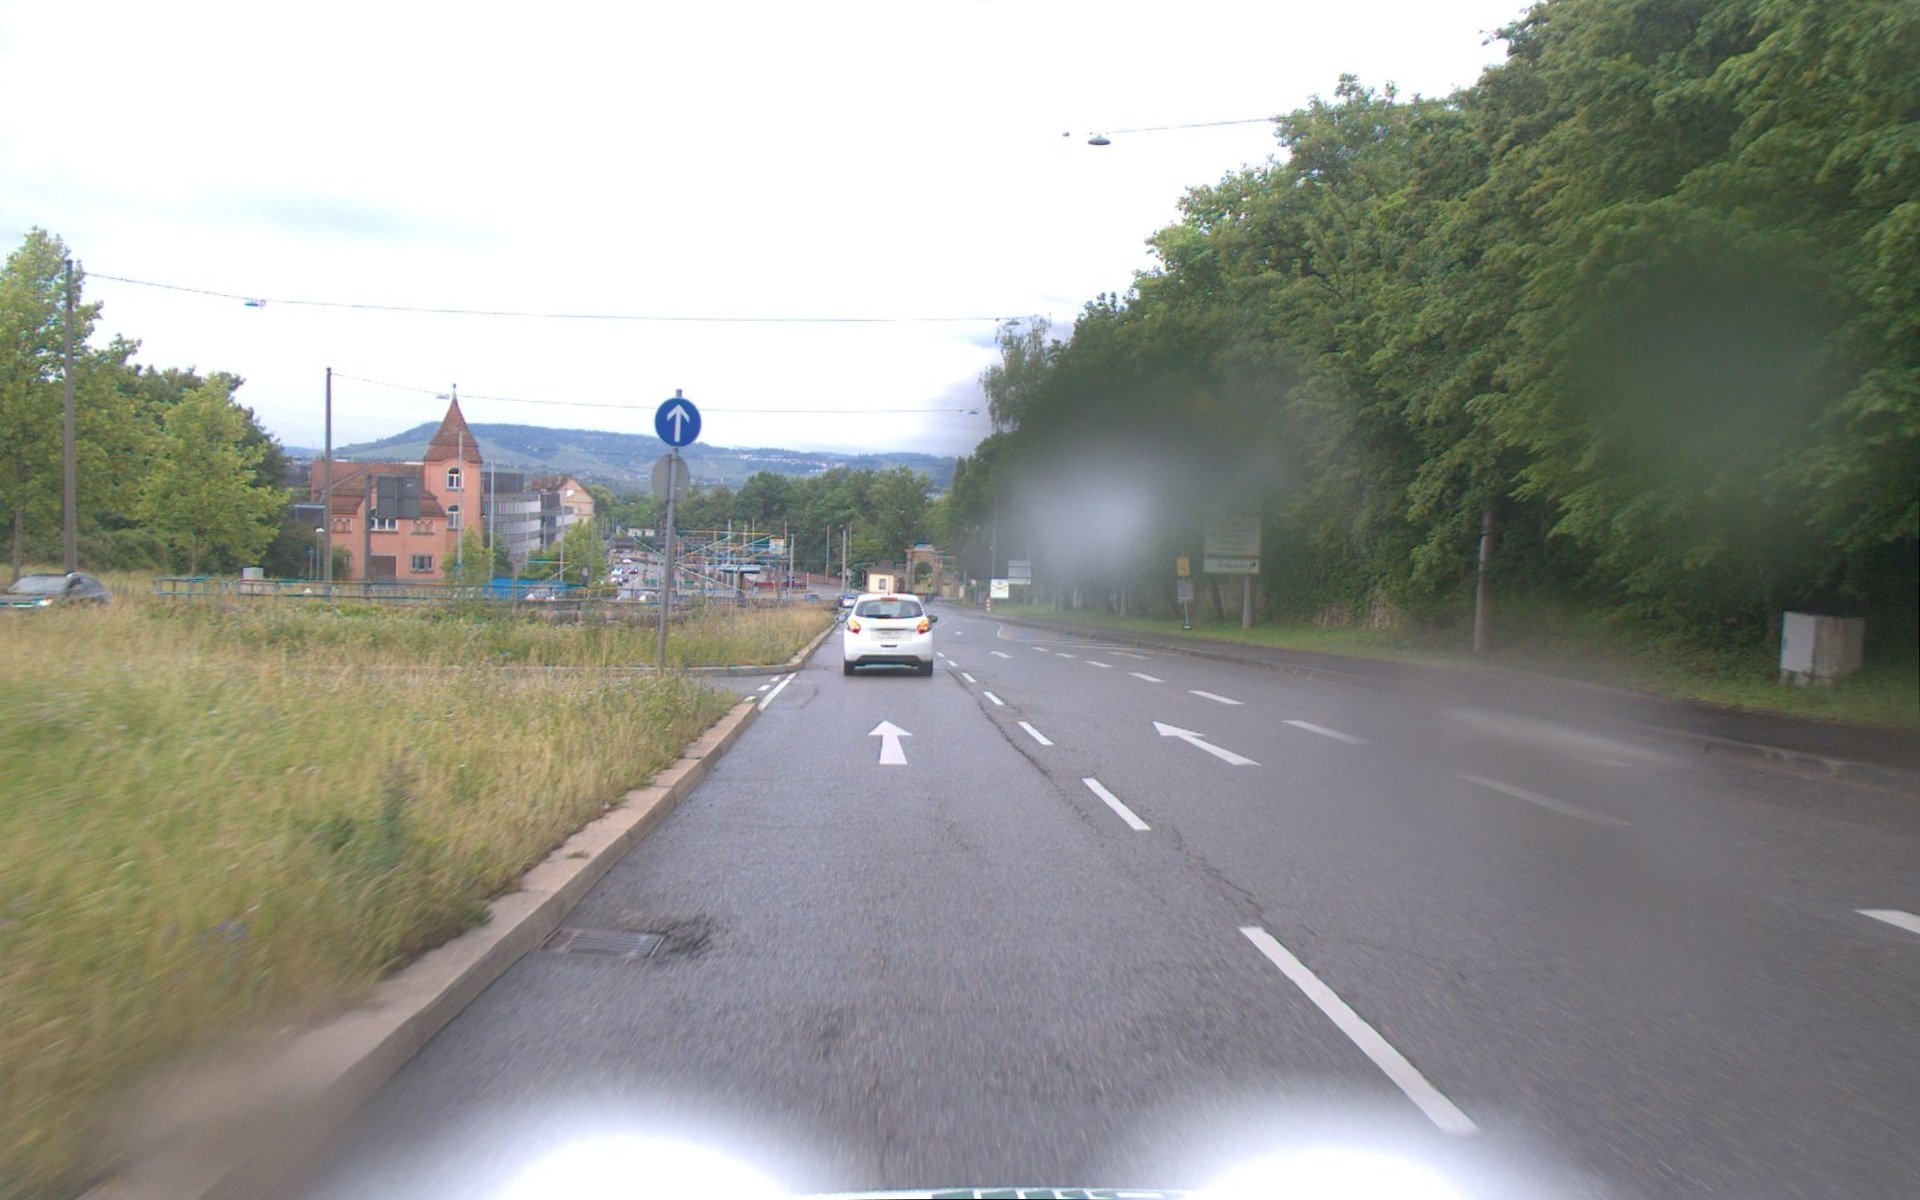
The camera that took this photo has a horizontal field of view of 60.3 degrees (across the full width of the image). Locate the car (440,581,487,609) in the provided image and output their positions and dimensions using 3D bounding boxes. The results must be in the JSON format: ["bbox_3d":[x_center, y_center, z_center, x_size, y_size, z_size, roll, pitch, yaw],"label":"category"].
[{"bbox_3d":[-30.725,-0.310,102.505,1.853,1.669,3.971,0,0,-2],"label":"car"}]

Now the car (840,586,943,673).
[{"bbox_3d":[-1.302,0.508,31.479,1.831,1.537,3.898,0,1,-3],"label":"car"}]

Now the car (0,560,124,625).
[{"bbox_3d":[-23.470,-0.211,42.724,1.623,1.554,4.433,2,1,-2],"label":"car"}]

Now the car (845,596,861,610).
[{"bbox_3d":[-13.180,0.345,204.135,1.786,1.634,3.998,-1,0,-2],"label":"car"}]
